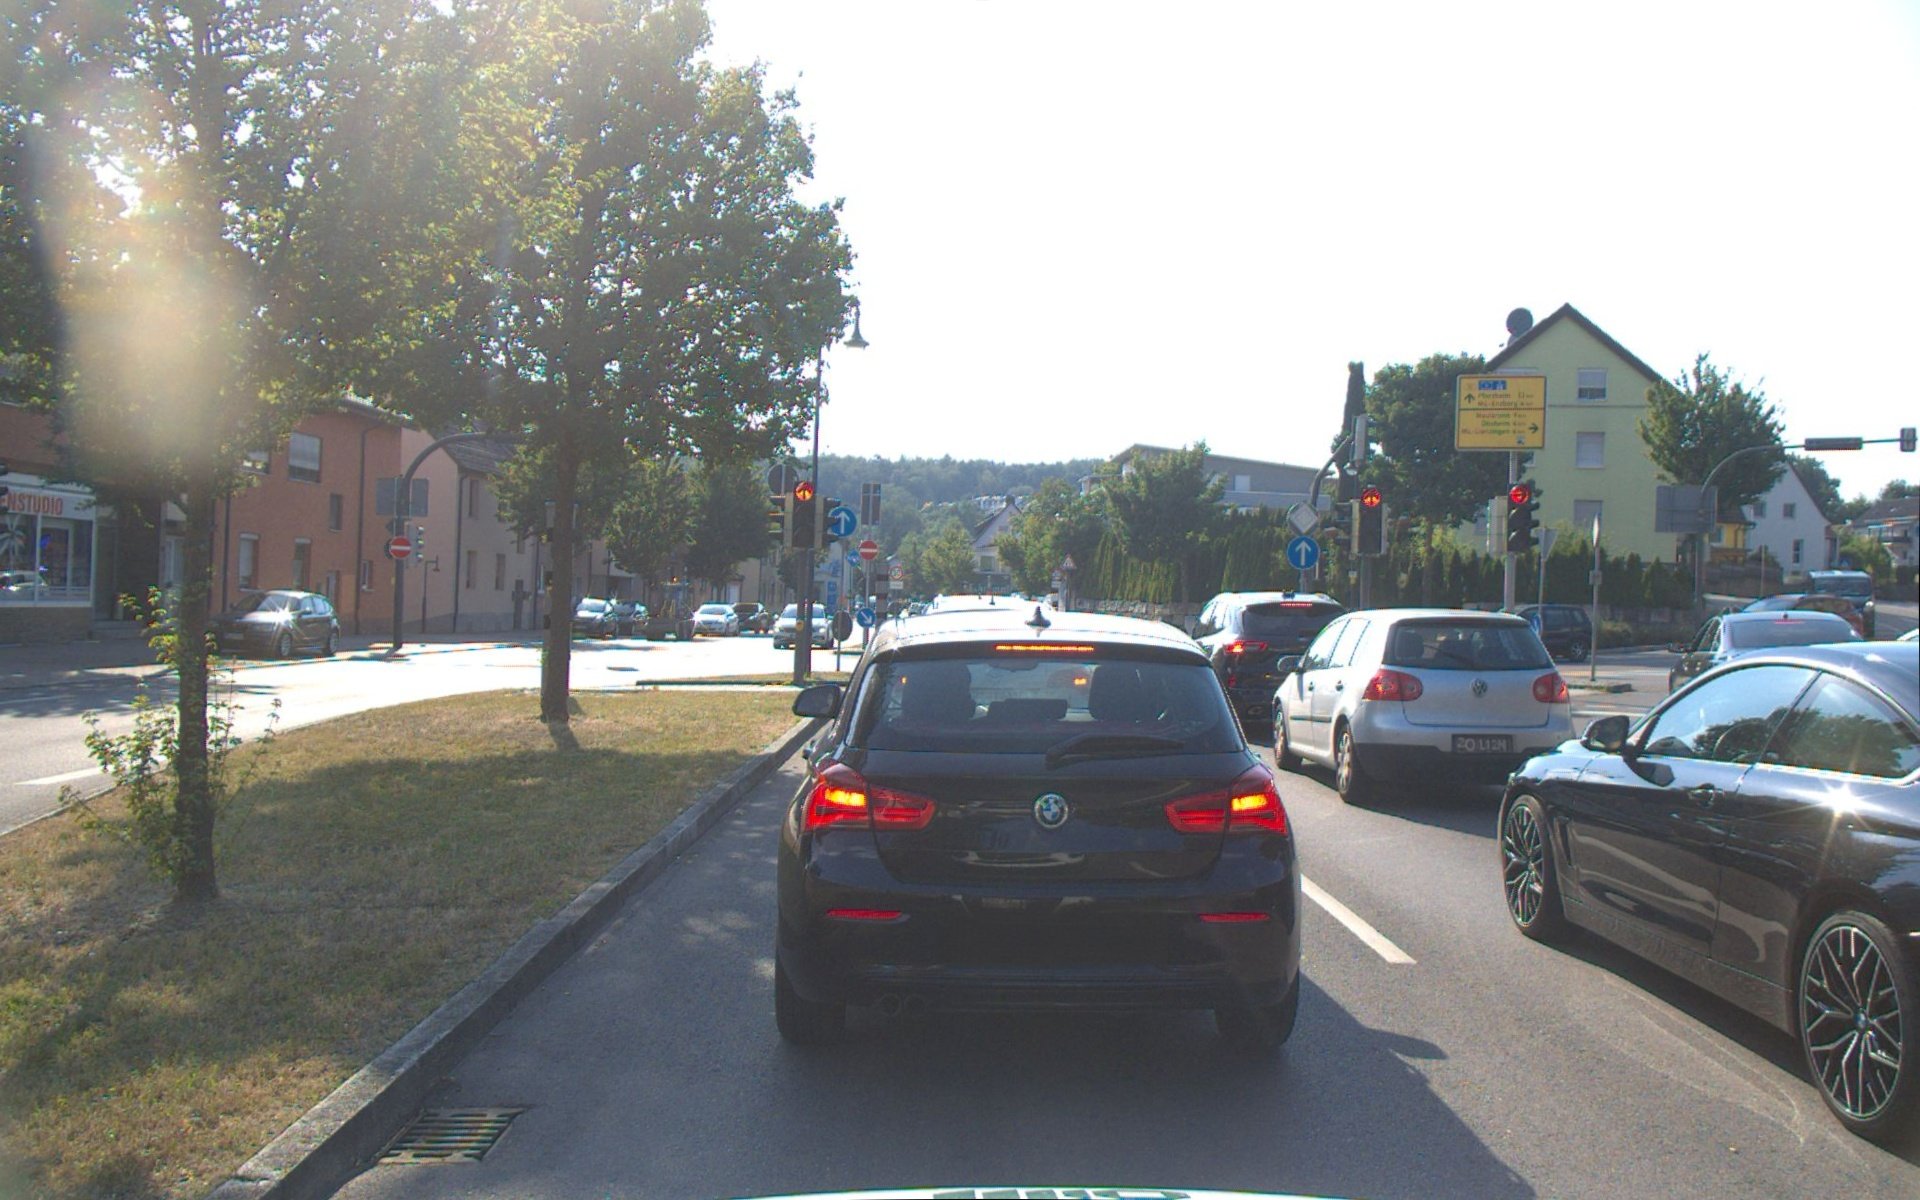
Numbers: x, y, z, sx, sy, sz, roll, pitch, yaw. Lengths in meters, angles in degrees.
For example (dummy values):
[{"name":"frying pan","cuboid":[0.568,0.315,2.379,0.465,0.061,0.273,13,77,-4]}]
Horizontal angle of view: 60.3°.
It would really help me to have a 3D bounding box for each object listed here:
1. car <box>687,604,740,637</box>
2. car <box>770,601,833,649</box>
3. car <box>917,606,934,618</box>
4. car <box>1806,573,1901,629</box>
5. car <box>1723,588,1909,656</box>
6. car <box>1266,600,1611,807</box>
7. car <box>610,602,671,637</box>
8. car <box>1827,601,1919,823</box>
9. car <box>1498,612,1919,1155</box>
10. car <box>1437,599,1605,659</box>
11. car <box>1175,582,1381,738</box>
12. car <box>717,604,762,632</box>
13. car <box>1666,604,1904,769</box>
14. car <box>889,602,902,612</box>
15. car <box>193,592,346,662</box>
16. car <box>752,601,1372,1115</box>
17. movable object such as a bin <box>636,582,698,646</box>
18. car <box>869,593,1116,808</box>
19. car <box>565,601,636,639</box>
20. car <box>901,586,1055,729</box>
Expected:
[{"name":"car","cuboid":[-11.595,0.956,78.144,1.701,1.323,3.800,5,0,2]},{"name":"car","cuboid":[-5.314,0.807,55.821,1.801,1.508,3.999,1,0,-1]},{"name":"car","cuboid":[-4.200,1.452,202.491,1.701,1.323,3.800,5,0,2]},{"name":"car","cuboid":[29.706,0.049,54.934,1.815,1.770,4.757,1,0,41]},{"name":"car","cuboid":[21.899,0.563,42.312,4.354,1.670,1.836,1,0,-22]},{"name":"car","cuboid":[3.784,0.740,13.778,1.725,1.451,3.902,-1,0,0]},{"name":"car","cuboid":[-14.112,0.839,73.191,1.701,1.323,4.001,5,0,2]},{"name":"car","cuboid":[7.613,0.799,11.630,1.583,1.569,3.320,-1,0,6]},{"name":"car","cuboid":[3.462,0.785,5.822,1.725,1.422,4.280,-1,0,0]},{"name":"car","cuboid":[15.161,0.769,44.837,3.907,1.515,1.847,1,0,-3]},{"name":"car","cuboid":[3.738,0.649,20.061,1.725,1.685,3.902,-1,0,0]},{"name":"car","cuboid":[-11.908,0.946,89.420,1.701,1.323,3.800,5,0,2]},{"name":"car","cuboid":[9.038,0.854,18.463,1.621,1.569,4.401,-1,0,17]},{"name":"car","cuboid":[-10.146,1.075,261.825,1.701,1.323,3.800,5,0,2]},{"name":"car","cuboid":[-15.479,0.571,37.296,1.702,1.323,3.999,5,0,-1]},{"name":"car","cuboid":[0.287,0.734,6.842,1.751,1.422,4.280,-1,0,0]},{"name":"movable object such as a bin","cuboid":[-11.864,0.554,67.217,1.701,2.485,4.449,0,0,0]},{"name":"car","cuboid":[0.229,0.715,13.987,1.751,1.520,4.280,-1,0,0]},{"name":"car","cuboid":[-14.505,0.805,66.910,1.701,1.323,4.001,5,0,3]},{"name":"car","cuboid":[0.199,0.648,21.027,1.751,1.622,4.280,-1,0,0]}]
